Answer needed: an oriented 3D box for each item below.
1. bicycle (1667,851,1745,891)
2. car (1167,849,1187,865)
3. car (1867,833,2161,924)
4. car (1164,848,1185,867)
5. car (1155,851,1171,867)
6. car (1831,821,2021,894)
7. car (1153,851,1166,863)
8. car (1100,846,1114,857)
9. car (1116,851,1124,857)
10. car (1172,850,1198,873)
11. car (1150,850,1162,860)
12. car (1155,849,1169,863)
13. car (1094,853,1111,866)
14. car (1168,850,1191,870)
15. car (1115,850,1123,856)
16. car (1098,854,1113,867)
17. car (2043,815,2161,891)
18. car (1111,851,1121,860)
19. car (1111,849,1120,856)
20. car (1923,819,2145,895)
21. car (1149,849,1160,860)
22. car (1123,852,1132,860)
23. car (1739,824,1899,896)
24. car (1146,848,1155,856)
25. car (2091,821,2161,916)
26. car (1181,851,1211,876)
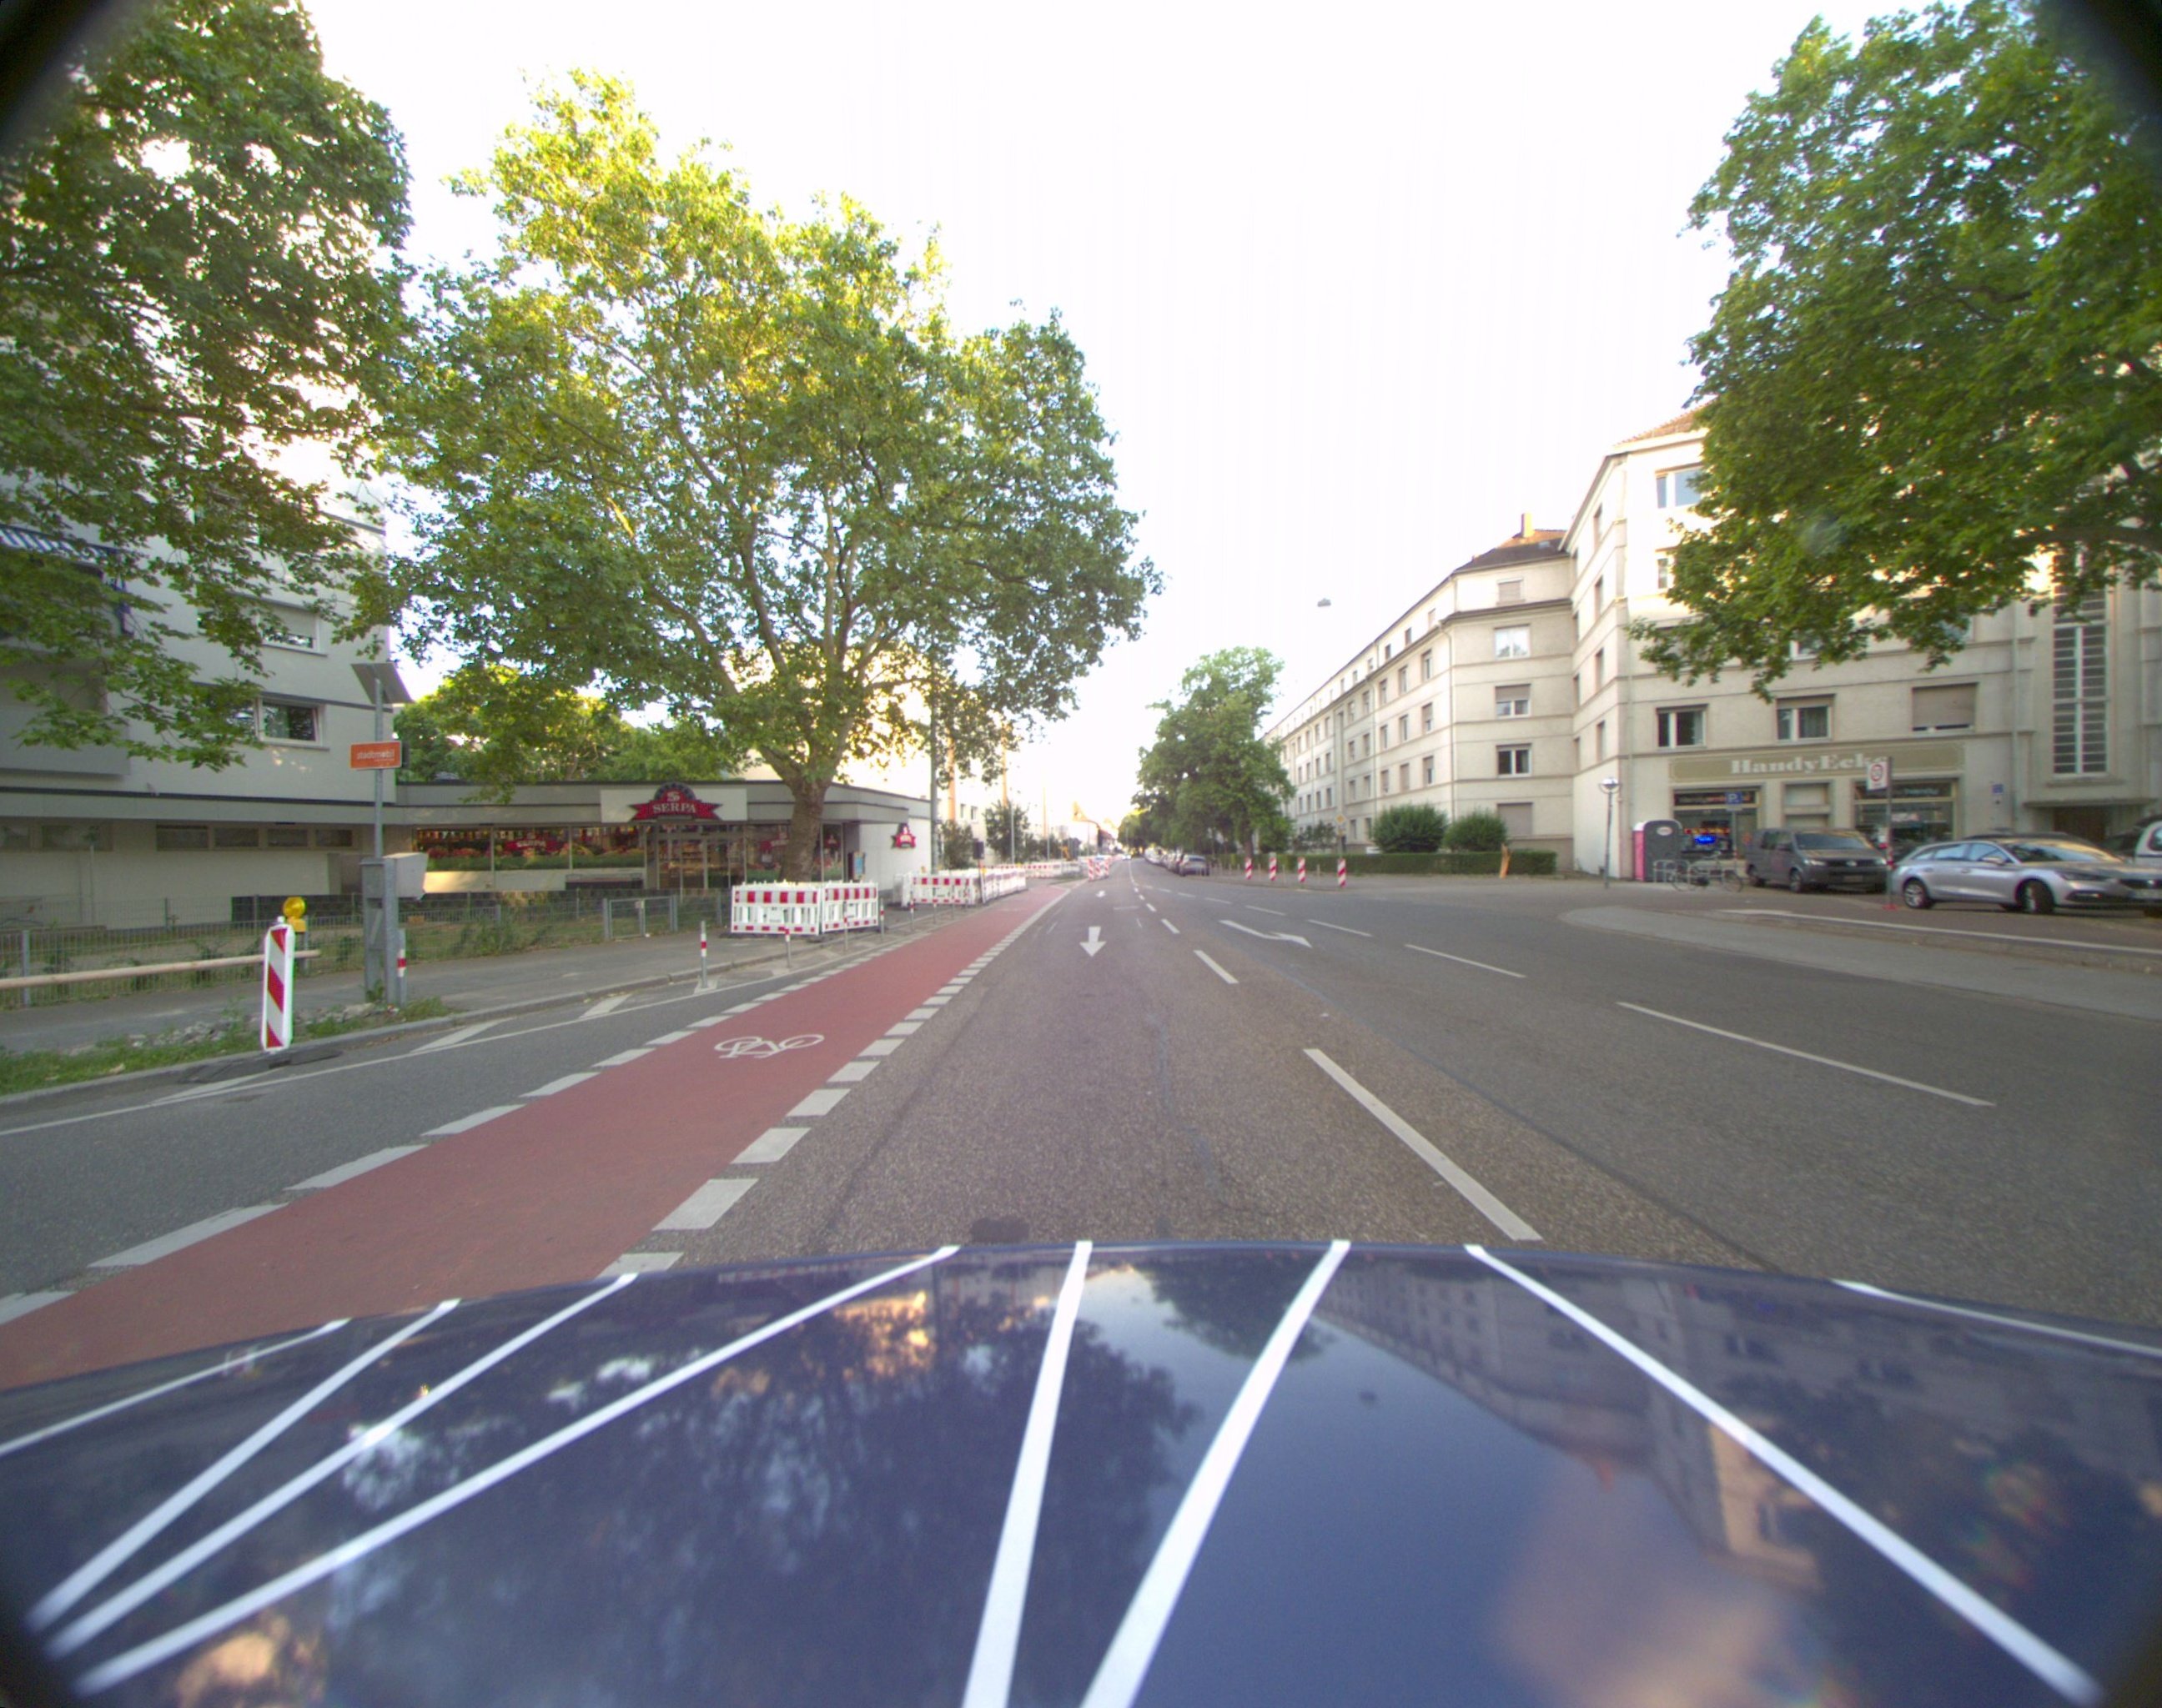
[{"bbox_3d":[19.402,0.531,23.616,1.802,1.199,0.648,-1,2,33],"label":"bicycle"},{"bbox_3d":[10.187,0.279,80.933,1.892,1.591,4.260,-2,1,6],"label":"car"},{"bbox_3d":[18.133,0.433,14.676,1.996,1.494,4.647,0,-1,15],"label":"car"},{"bbox_3d":[9.279,0.328,75.413,1.892,1.764,4.260,-2,1,6],"label":"car"},{"bbox_3d":[10.662,0.631,98.883,1.892,1.815,4.260,-2,1,6],"label":"car"},{"bbox_3d":[24.968,-0.001,22.736,1.995,1.945,4.646,0,3,23],"label":"car"},{"bbox_3d":[12.117,0.458,117.877,1.892,1.591,4.260,-2,1,6],"label":"car"},{"bbox_3d":[4.182,-0.376,121.838,1.892,1.651,4.260,-2,1,6],"label":"car"},{"bbox_3d":[10.516,0.012,205.499,1.892,1.591,4.260,-2,1,6],"label":"car"},{"bbox_3d":[8.471,0.582,62.160,1.892,1.681,4.260,-2,1,6],"label":"car"},{"bbox_3d":[13.132,0.126,132.799,1.892,1.591,4.260,-2,1,6],"label":"car"},{"bbox_3d":[11.547,0.294,108.206,1.892,1.855,4.260,-2,1,6],"label":"car"},{"bbox_3d":[2.883,0.730,101.039,1.892,1.591,4.260,-2,1,6],"label":"car"},{"bbox_3d":[9.008,0.541,69.467,1.892,1.591,4.260,-2,1,6],"label":"car"},{"bbox_3d":[9.767,-0.249,196.473,1.892,1.591,4.260,-2,1,6],"label":"car"},{"bbox_3d":[3.693,0.903,113.325,1.892,1.726,4.260,-2,1,6],"label":"car"},{"bbox_3d":[29.617,-0.094,20.832,1.995,1.945,4.646,0,3,23],"label":"car"},{"bbox_3d":[7.164,0.273,156.228,1.892,1.591,4.260,-2,1,6],"label":"car"},{"bbox_3d":[8.489,-0.411,184.838,1.892,1.591,4.260,-2,1,6],"label":"car"},{"bbox_3d":[27.120,-0.019,21.920,1.995,1.945,4.646,0,3,23],"label":"car"},{"bbox_3d":[13.808,0.117,142.811,1.892,1.868,4.946,-2,1,6],"label":"car"},{"bbox_3d":[11.380,0.580,186.483,1.998,1.838,4.001,-2,1,5],"label":"car"},{"bbox_3d":[22.613,0.084,23.558,1.995,1.945,4.646,0,3,23],"label":"car"},{"bbox_3d":[15.195,-0.517,166.083,1.892,1.591,4.260,-2,1,6],"label":"car"},{"bbox_3d":[20.719,0.257,12.995,1.995,1.771,4.649,0,-1,21],"label":"car"},{"bbox_3d":[8.131,0.659,54.040,1.892,1.591,4.001,-2,1,6],"label":"car"}]
